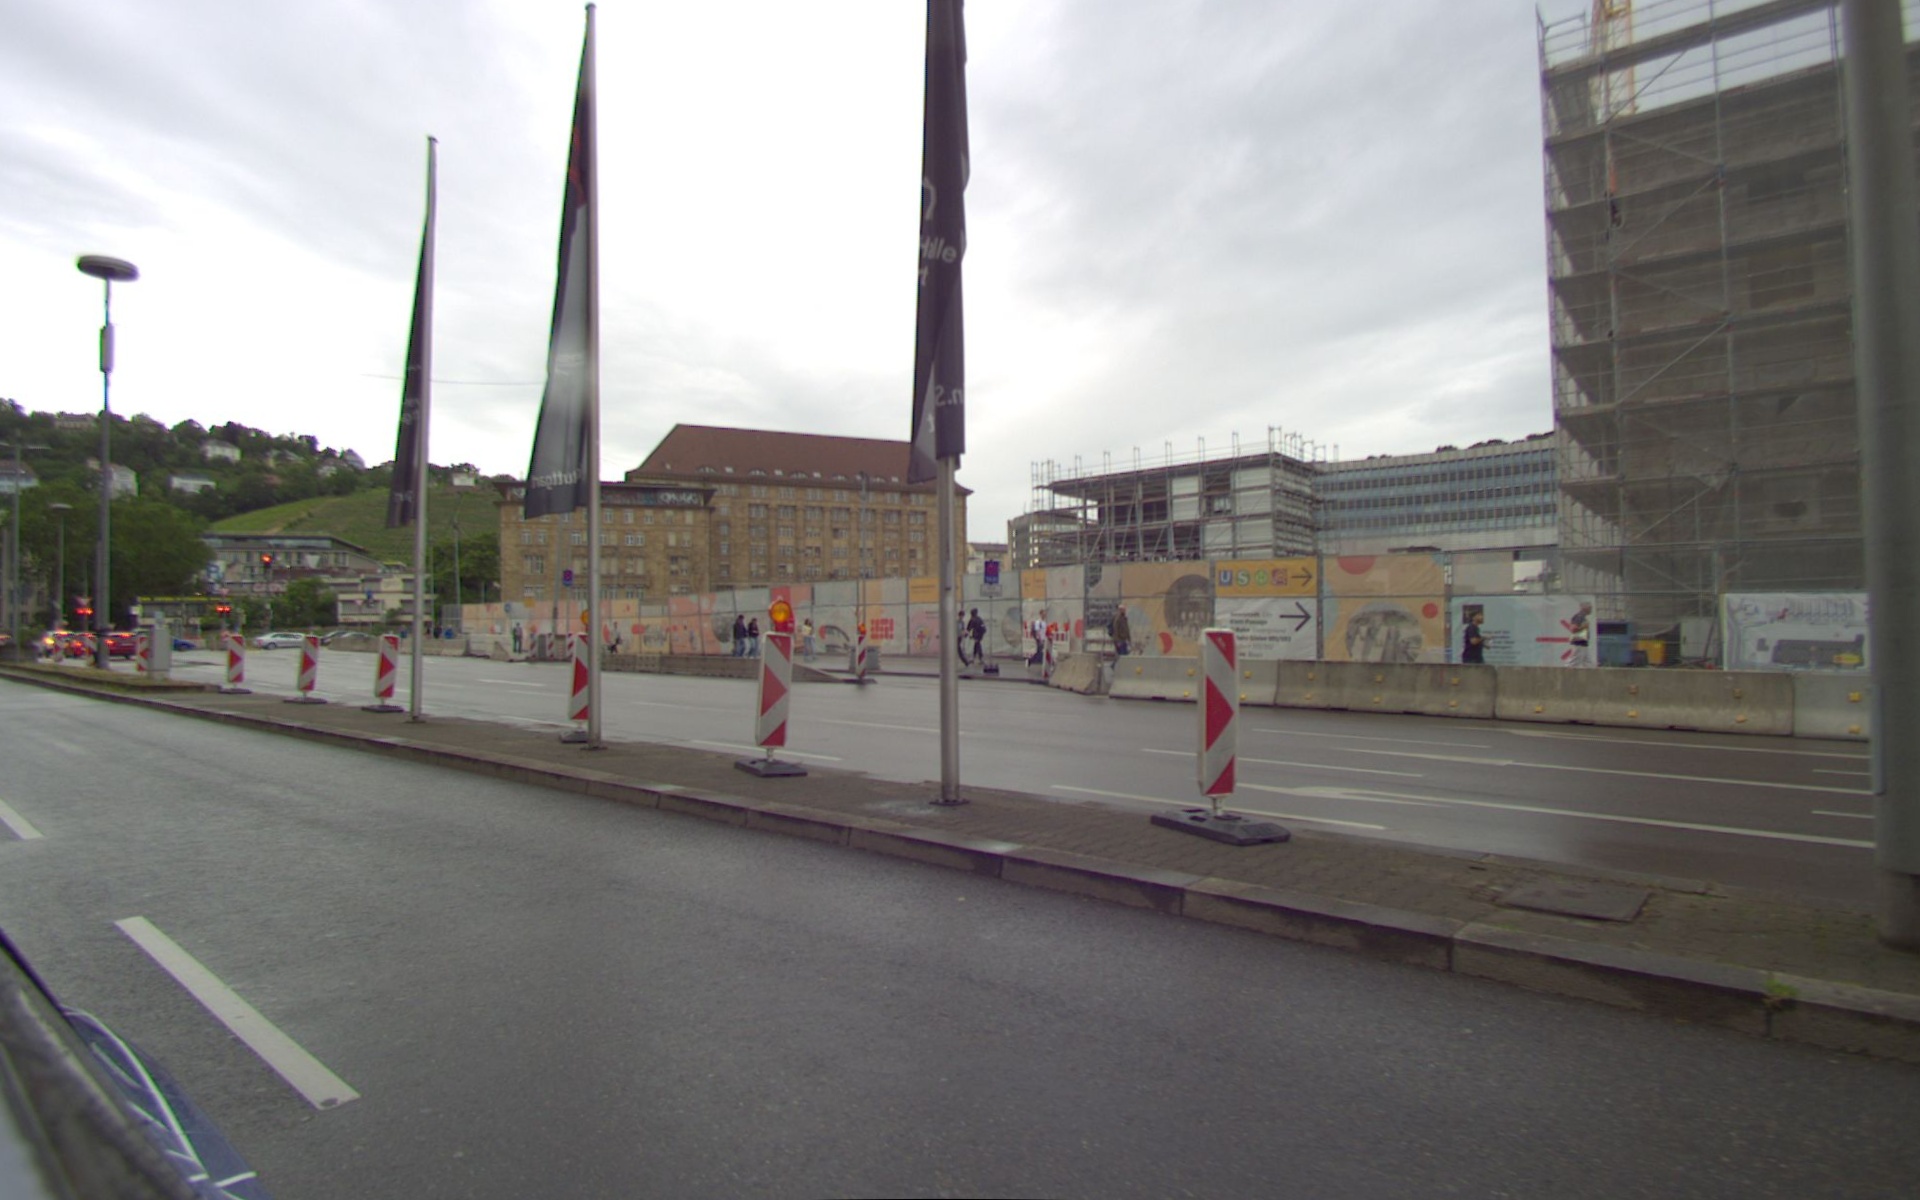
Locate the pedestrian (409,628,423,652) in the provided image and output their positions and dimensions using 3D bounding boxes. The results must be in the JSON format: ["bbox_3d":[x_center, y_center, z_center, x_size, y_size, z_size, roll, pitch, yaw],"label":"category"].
[{"bbox_3d":[-38.102,2.807,70.831,0.544,1.628,0.706,-2,-1,41],"label":"pedestrian"}]

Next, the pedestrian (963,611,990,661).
[{"bbox_3d":[0.546,1.167,33.174,0.544,1.628,0.706,-2,-1,41],"label":"pedestrian"}]

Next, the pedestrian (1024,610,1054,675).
[{"bbox_3d":[2.271,1.219,29.103,0.717,1.850,0.475,-2,-1,41],"label":"pedestrian"}]

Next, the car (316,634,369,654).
[{"bbox_3d":[-55.478,3.941,90.923,3.934,1.644,2.005,1,-2,-36],"label":"car"}]

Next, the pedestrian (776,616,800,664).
[{"bbox_3d":[-6.523,1.508,38.389,0.704,1.757,0.565,-1,-1,-29],"label":"pedestrian"}]

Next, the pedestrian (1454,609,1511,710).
[{"bbox_3d":[9.864,1.104,19.105,0.819,1.850,0.572,-2,-1,41],"label":"pedestrian"}]

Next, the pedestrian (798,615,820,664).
[{"bbox_3d":[-5.755,1.501,38.488,0.651,1.850,0.557,-1,-1,-29],"label":"pedestrian"}]

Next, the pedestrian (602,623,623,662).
[{"bbox_3d":[-16.441,1.999,47.839,0.720,1.850,0.656,-2,-1,41],"label":"pedestrian"}]

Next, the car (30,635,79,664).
[{"bbox_3d":[-56.916,3.099,63.583,3.913,1.707,1.763,-1,-1,40],"label":"car"}]

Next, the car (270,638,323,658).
[{"bbox_3d":[-66.244,4.780,101.023,4.136,1.871,1.833,-1,-1,-44],"label":"car"}]

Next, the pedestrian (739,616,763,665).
[{"bbox_3d":[-8.005,1.526,38.720,0.704,1.850,0.719,-1,-1,-30],"label":"pedestrian"}]

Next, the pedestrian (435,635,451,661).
[{"bbox_3d":[-33.275,3.069,65.138,0.544,1.628,0.706,-2,-1,41],"label":"pedestrian"}]

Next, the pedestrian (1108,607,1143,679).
[{"bbox_3d":[4.332,1.105,26.513,0.717,1.850,0.475,-2,-1,41],"label":"pedestrian"}]

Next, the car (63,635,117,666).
[{"bbox_3d":[-51.495,2.975,59.875,3.913,1.707,1.763,-1,-1,40],"label":"car"}]

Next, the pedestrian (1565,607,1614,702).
[{"bbox_3d":[12.572,1.070,20.214,0.717,1.850,0.475,-2,-1,41],"label":"pedestrian"}]

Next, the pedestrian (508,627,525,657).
[{"bbox_3d":[-24.562,2.304,56.026,0.544,1.628,0.706,-2,-1,41],"label":"pedestrian"}]

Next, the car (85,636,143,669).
[{"bbox_3d":[-45.883,2.821,54.862,3.914,1.707,1.762,-2,-2,41],"label":"car"}]

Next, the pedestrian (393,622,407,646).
[{"bbox_3d":[-38.808,2.354,70.178,0.544,1.628,0.706,-2,-1,41],"label":"pedestrian"}]

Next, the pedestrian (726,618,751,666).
[{"bbox_3d":[-8.276,1.551,37.746,0.704,1.746,0.719,-1,-1,-30],"label":"pedestrian"}]

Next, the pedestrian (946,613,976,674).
[{"bbox_3d":[0.026,1.341,31.425,0.717,1.850,0.579,-2,-1,41],"label":"pedestrian"}]
